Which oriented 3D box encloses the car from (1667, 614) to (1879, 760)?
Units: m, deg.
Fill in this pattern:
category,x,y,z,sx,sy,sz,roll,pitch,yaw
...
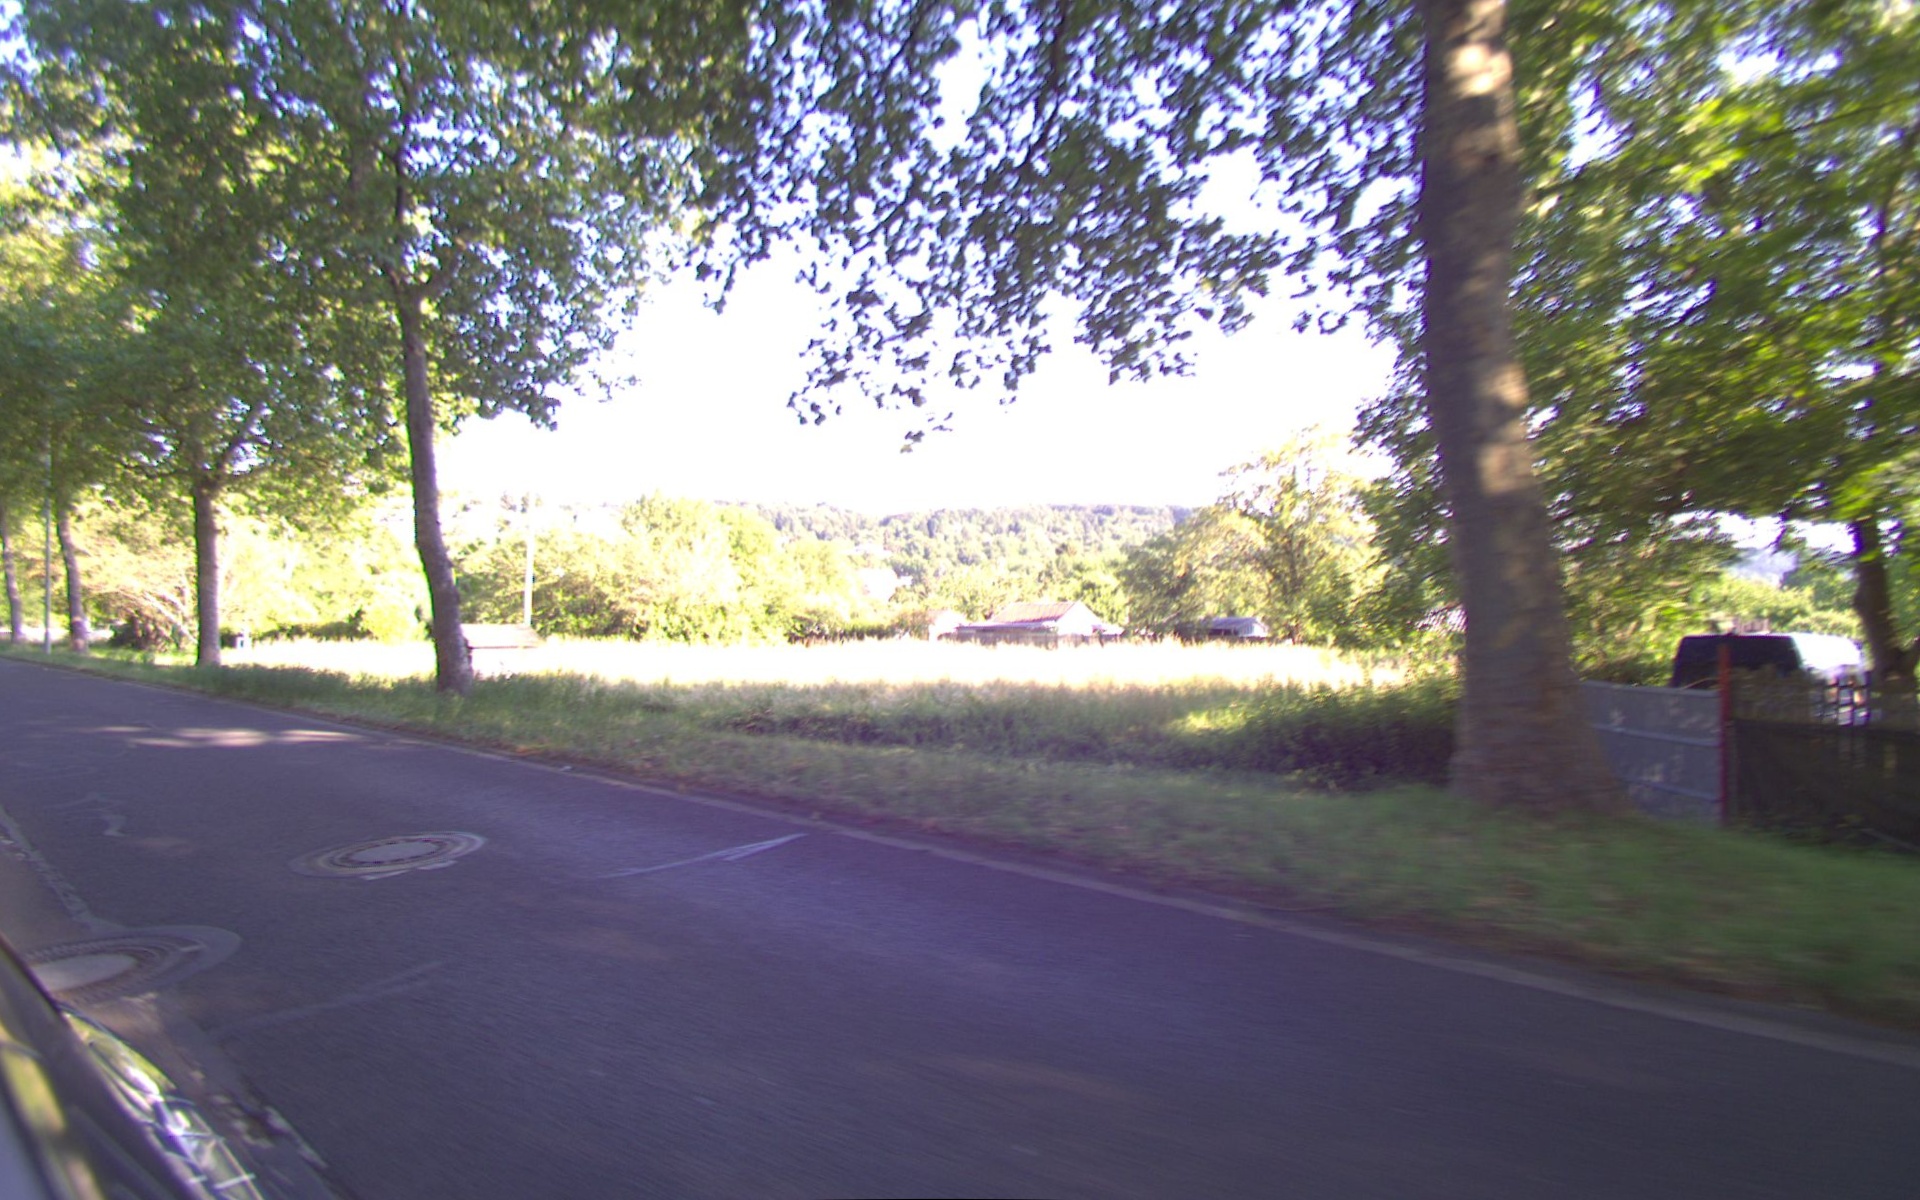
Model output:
category,x,y,z,sx,sy,sz,roll,pitch,yaw
car,13.549,1.300,16.802,3.937,2.029,2.003,-1,0,-40
